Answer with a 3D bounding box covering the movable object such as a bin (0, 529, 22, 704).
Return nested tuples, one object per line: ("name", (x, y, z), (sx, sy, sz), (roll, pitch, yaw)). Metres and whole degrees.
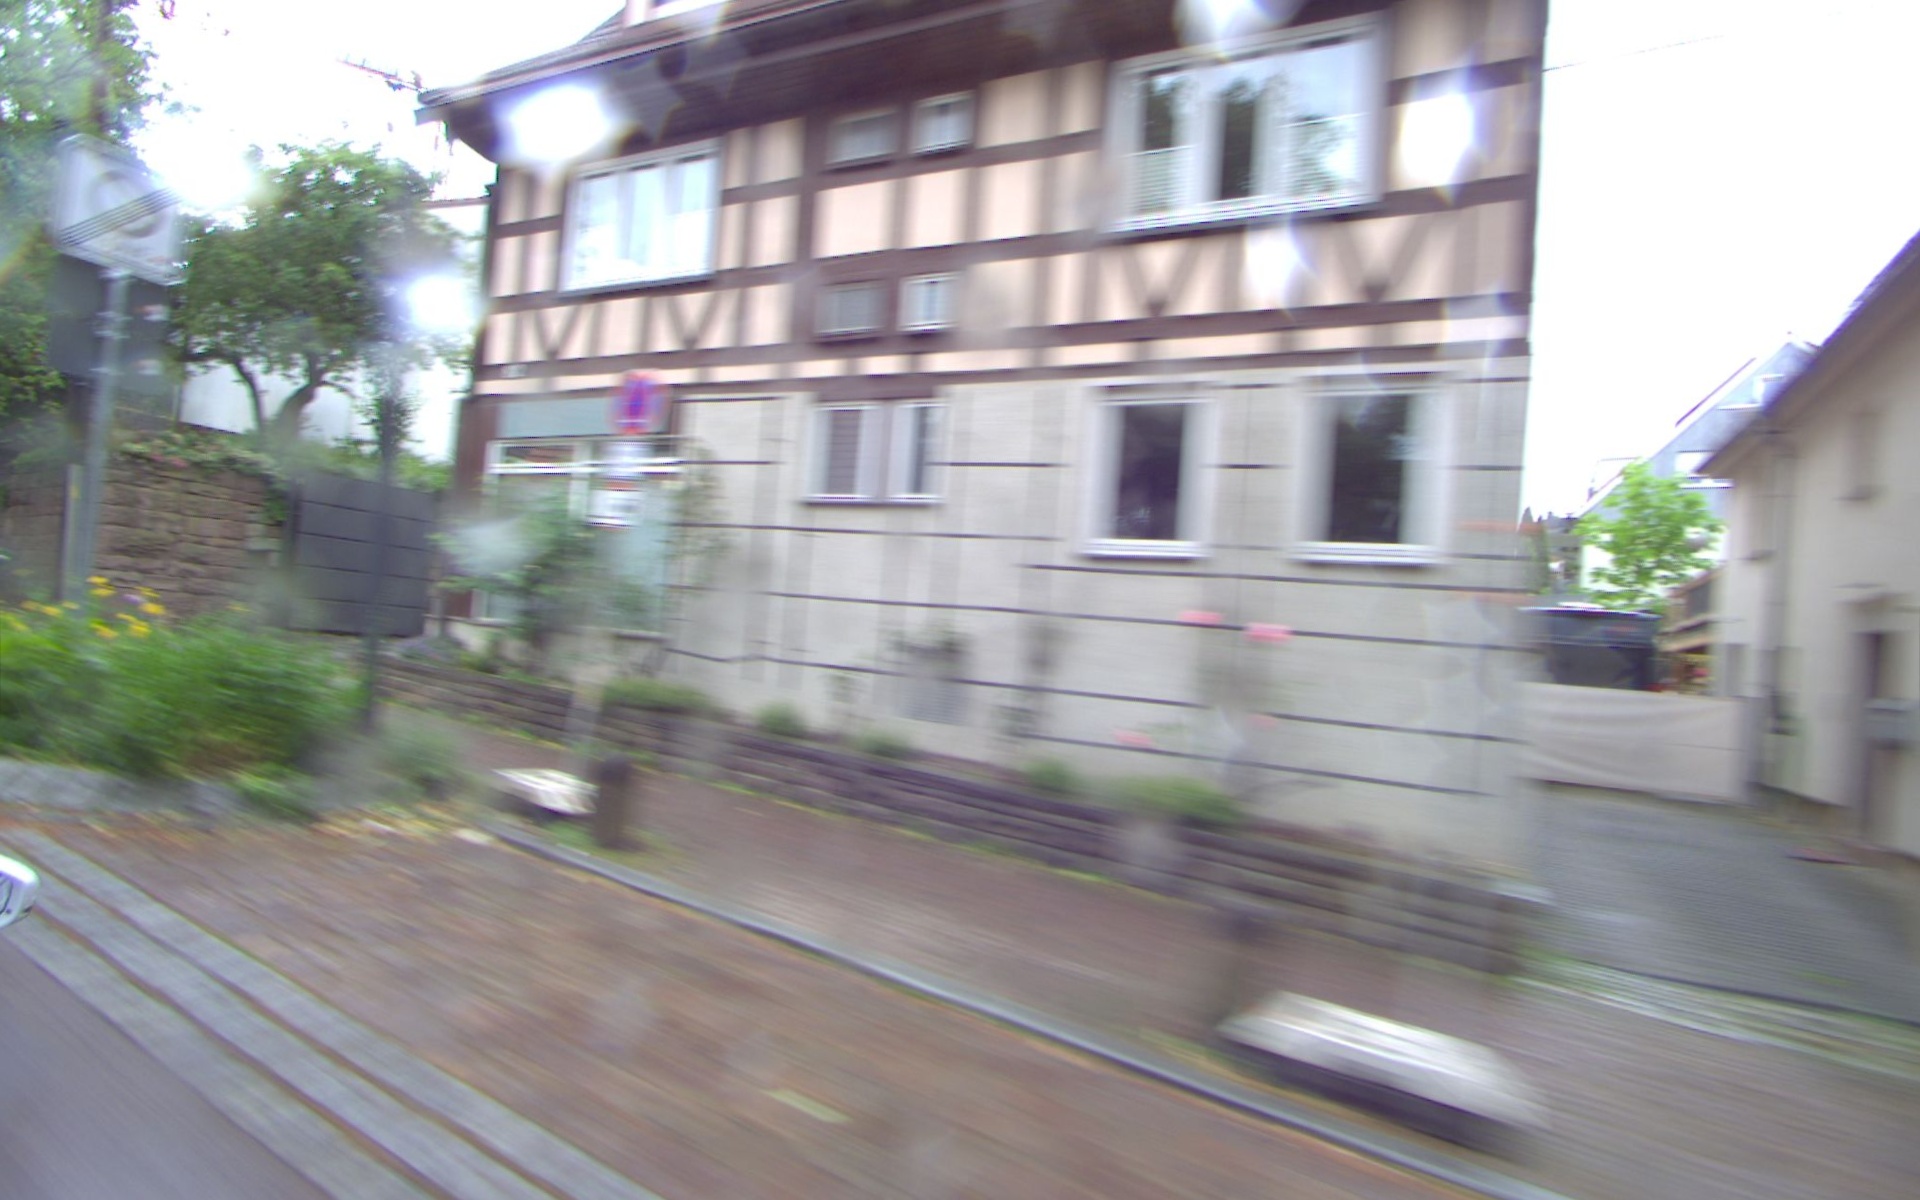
("movable object such as a bin", (-7.248, 0.063, 7.051), (0.715, 1.227, 0.722), (7, -1, 32))
